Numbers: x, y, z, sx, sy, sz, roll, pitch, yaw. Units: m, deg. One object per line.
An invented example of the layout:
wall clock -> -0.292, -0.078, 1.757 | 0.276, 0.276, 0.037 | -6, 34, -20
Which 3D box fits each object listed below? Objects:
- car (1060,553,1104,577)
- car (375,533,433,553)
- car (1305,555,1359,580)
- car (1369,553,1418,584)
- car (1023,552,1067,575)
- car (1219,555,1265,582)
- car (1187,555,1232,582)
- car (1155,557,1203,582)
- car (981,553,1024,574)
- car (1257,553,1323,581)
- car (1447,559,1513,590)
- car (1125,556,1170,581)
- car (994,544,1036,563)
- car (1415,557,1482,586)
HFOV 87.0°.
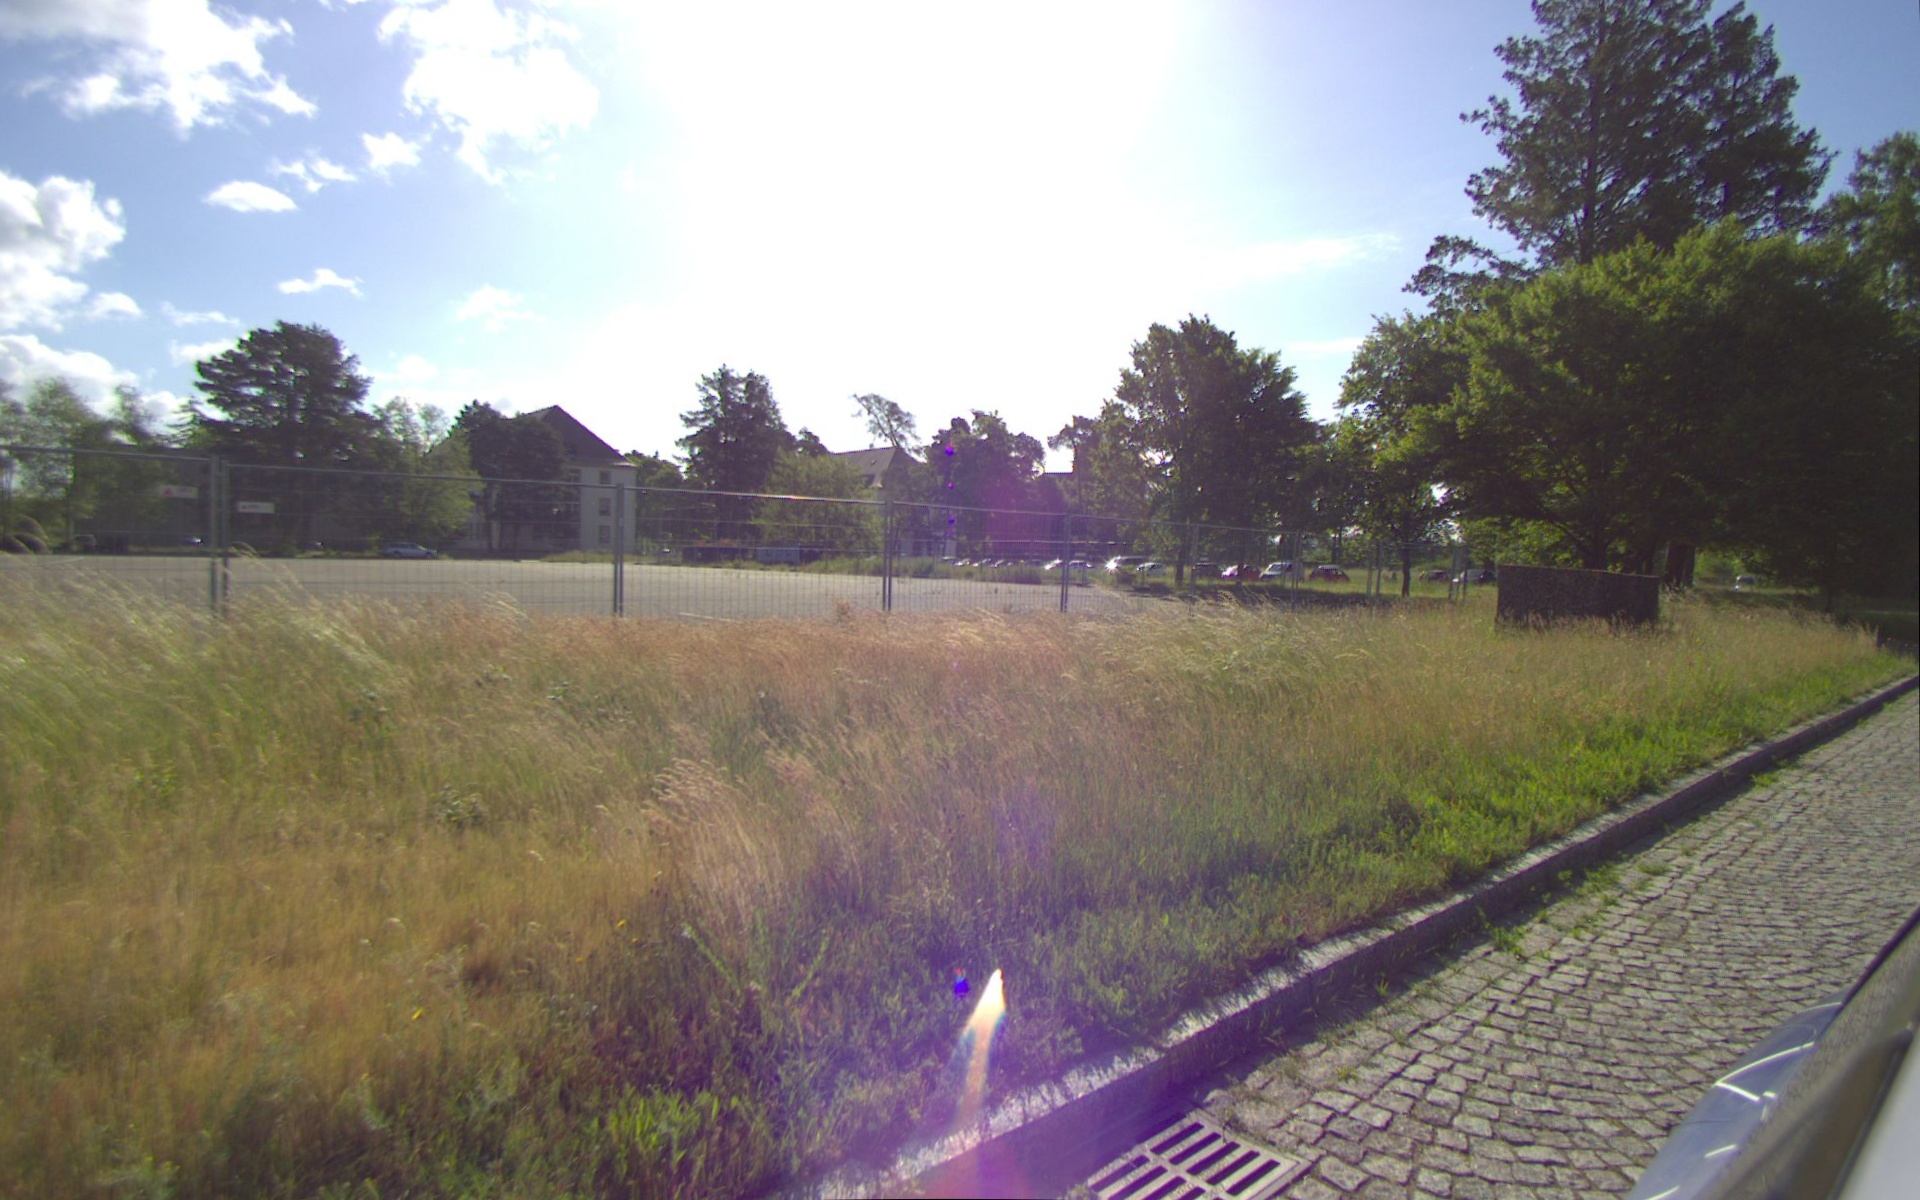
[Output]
car -> 10.998, -3.131, 91.352 | 3.783, 2.038, 1.742 | -1, 3, -39
car -> -47.810, -4.930, 87.058 | 1.995, 1.601, 3.936 | 4, 4, 45
car -> 26.809, -2.333, 72.885 | 3.931, 1.671, 1.997 | -1, 4, -42
car -> 30.123, -2.165, 70.326 | 3.557, 2.038, 1.740 | -1, 3, -42
car -> 7.979, -3.438, 94.861 | 3.932, 2.038, 1.997 | -1, 3, -42
car -> 21.887, -2.420, 78.608 | 3.557, 2.038, 1.740 | -1, 3, -42
car -> 19.833, -2.477, 80.534 | 3.557, 2.038, 1.740 | -1, 3, -42
car -> 18.294, -2.521, 84.409 | 3.932, 2.038, 1.997 | -1, 3, -43
car -> 4.220, -3.586, 100.075 | 3.932, 2.038, 1.997 | -1, 3, -42
car -> 24.885, -2.522, 76.220 | 5.930, 2.038, 1.997 | -3, 3, -41
car -> 33.357, -1.609, 64.834 | 4.273, 1.861, 2.245 | -1, 3, -40
car -> 15.783, -2.627, 85.233 | 3.785, 2.038, 1.740 | -1, 3, -42
car -> 5.328, -4.466, 97.693 | 3.783, 1.678, 1.742 | -1, 3, -39
car -> 32.440, -1.882, 67.162 | 4.269, 1.861, 2.247 | -1, 3, -37
